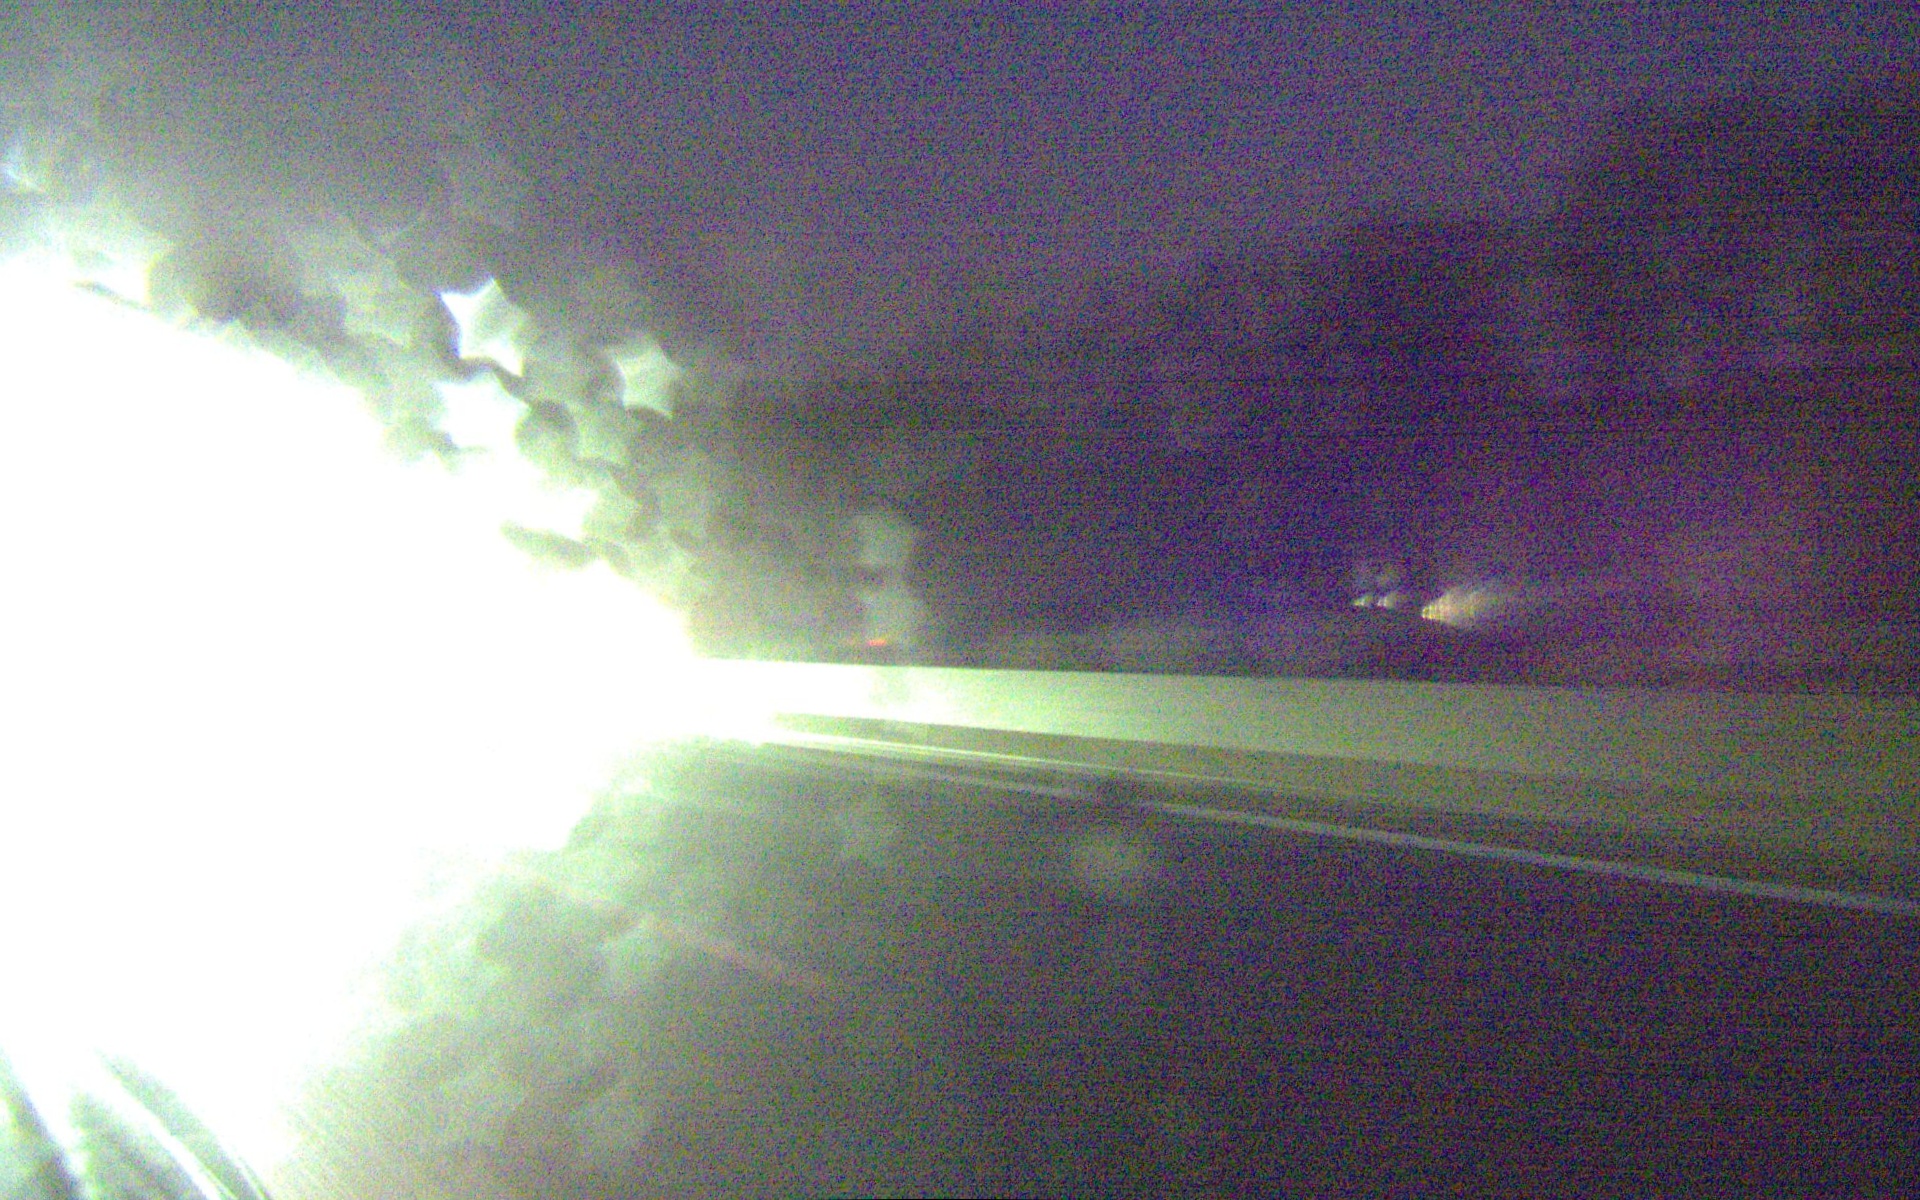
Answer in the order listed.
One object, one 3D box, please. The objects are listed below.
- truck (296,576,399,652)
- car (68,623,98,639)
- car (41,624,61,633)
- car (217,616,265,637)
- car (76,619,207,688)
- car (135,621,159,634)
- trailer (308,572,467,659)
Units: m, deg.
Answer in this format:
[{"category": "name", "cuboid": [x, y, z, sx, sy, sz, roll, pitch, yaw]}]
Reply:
[{"category": "truck", "cuboid": [-39.629, 0.959, 65.448, 5.845, 4.659, 4.122, 0, -3, 42]}, {"category": "car", "cuboid": [-94.358, 3.349, 108.899, 3.997, 1.674, 1.815, 0, -1, 40]}, {"category": "car", "cuboid": [-148.298, 4.597, 165.133, 3.997, 1.475, 1.940, 0, -1, 40]}, {"category": "car", "cuboid": [-45.583, 1.679, 64.182, 3.407, 1.298, 1.625, 0, -3, 40]}, {"category": "car", "cuboid": [-21.567, 1.359, 26.621, 2.278, 1.621, 3.874, 3, -3, -44]}, {"category": "car", "cuboid": [-102.859, 3.447, 128.058, 3.999, 1.475, 1.690, 0, 0, 42]}, {"category": "trailer", "cuboid": [-34.640, 0.956, 60.821, 13.957, 4.659, 4.122, 0, -3, 43]}]
